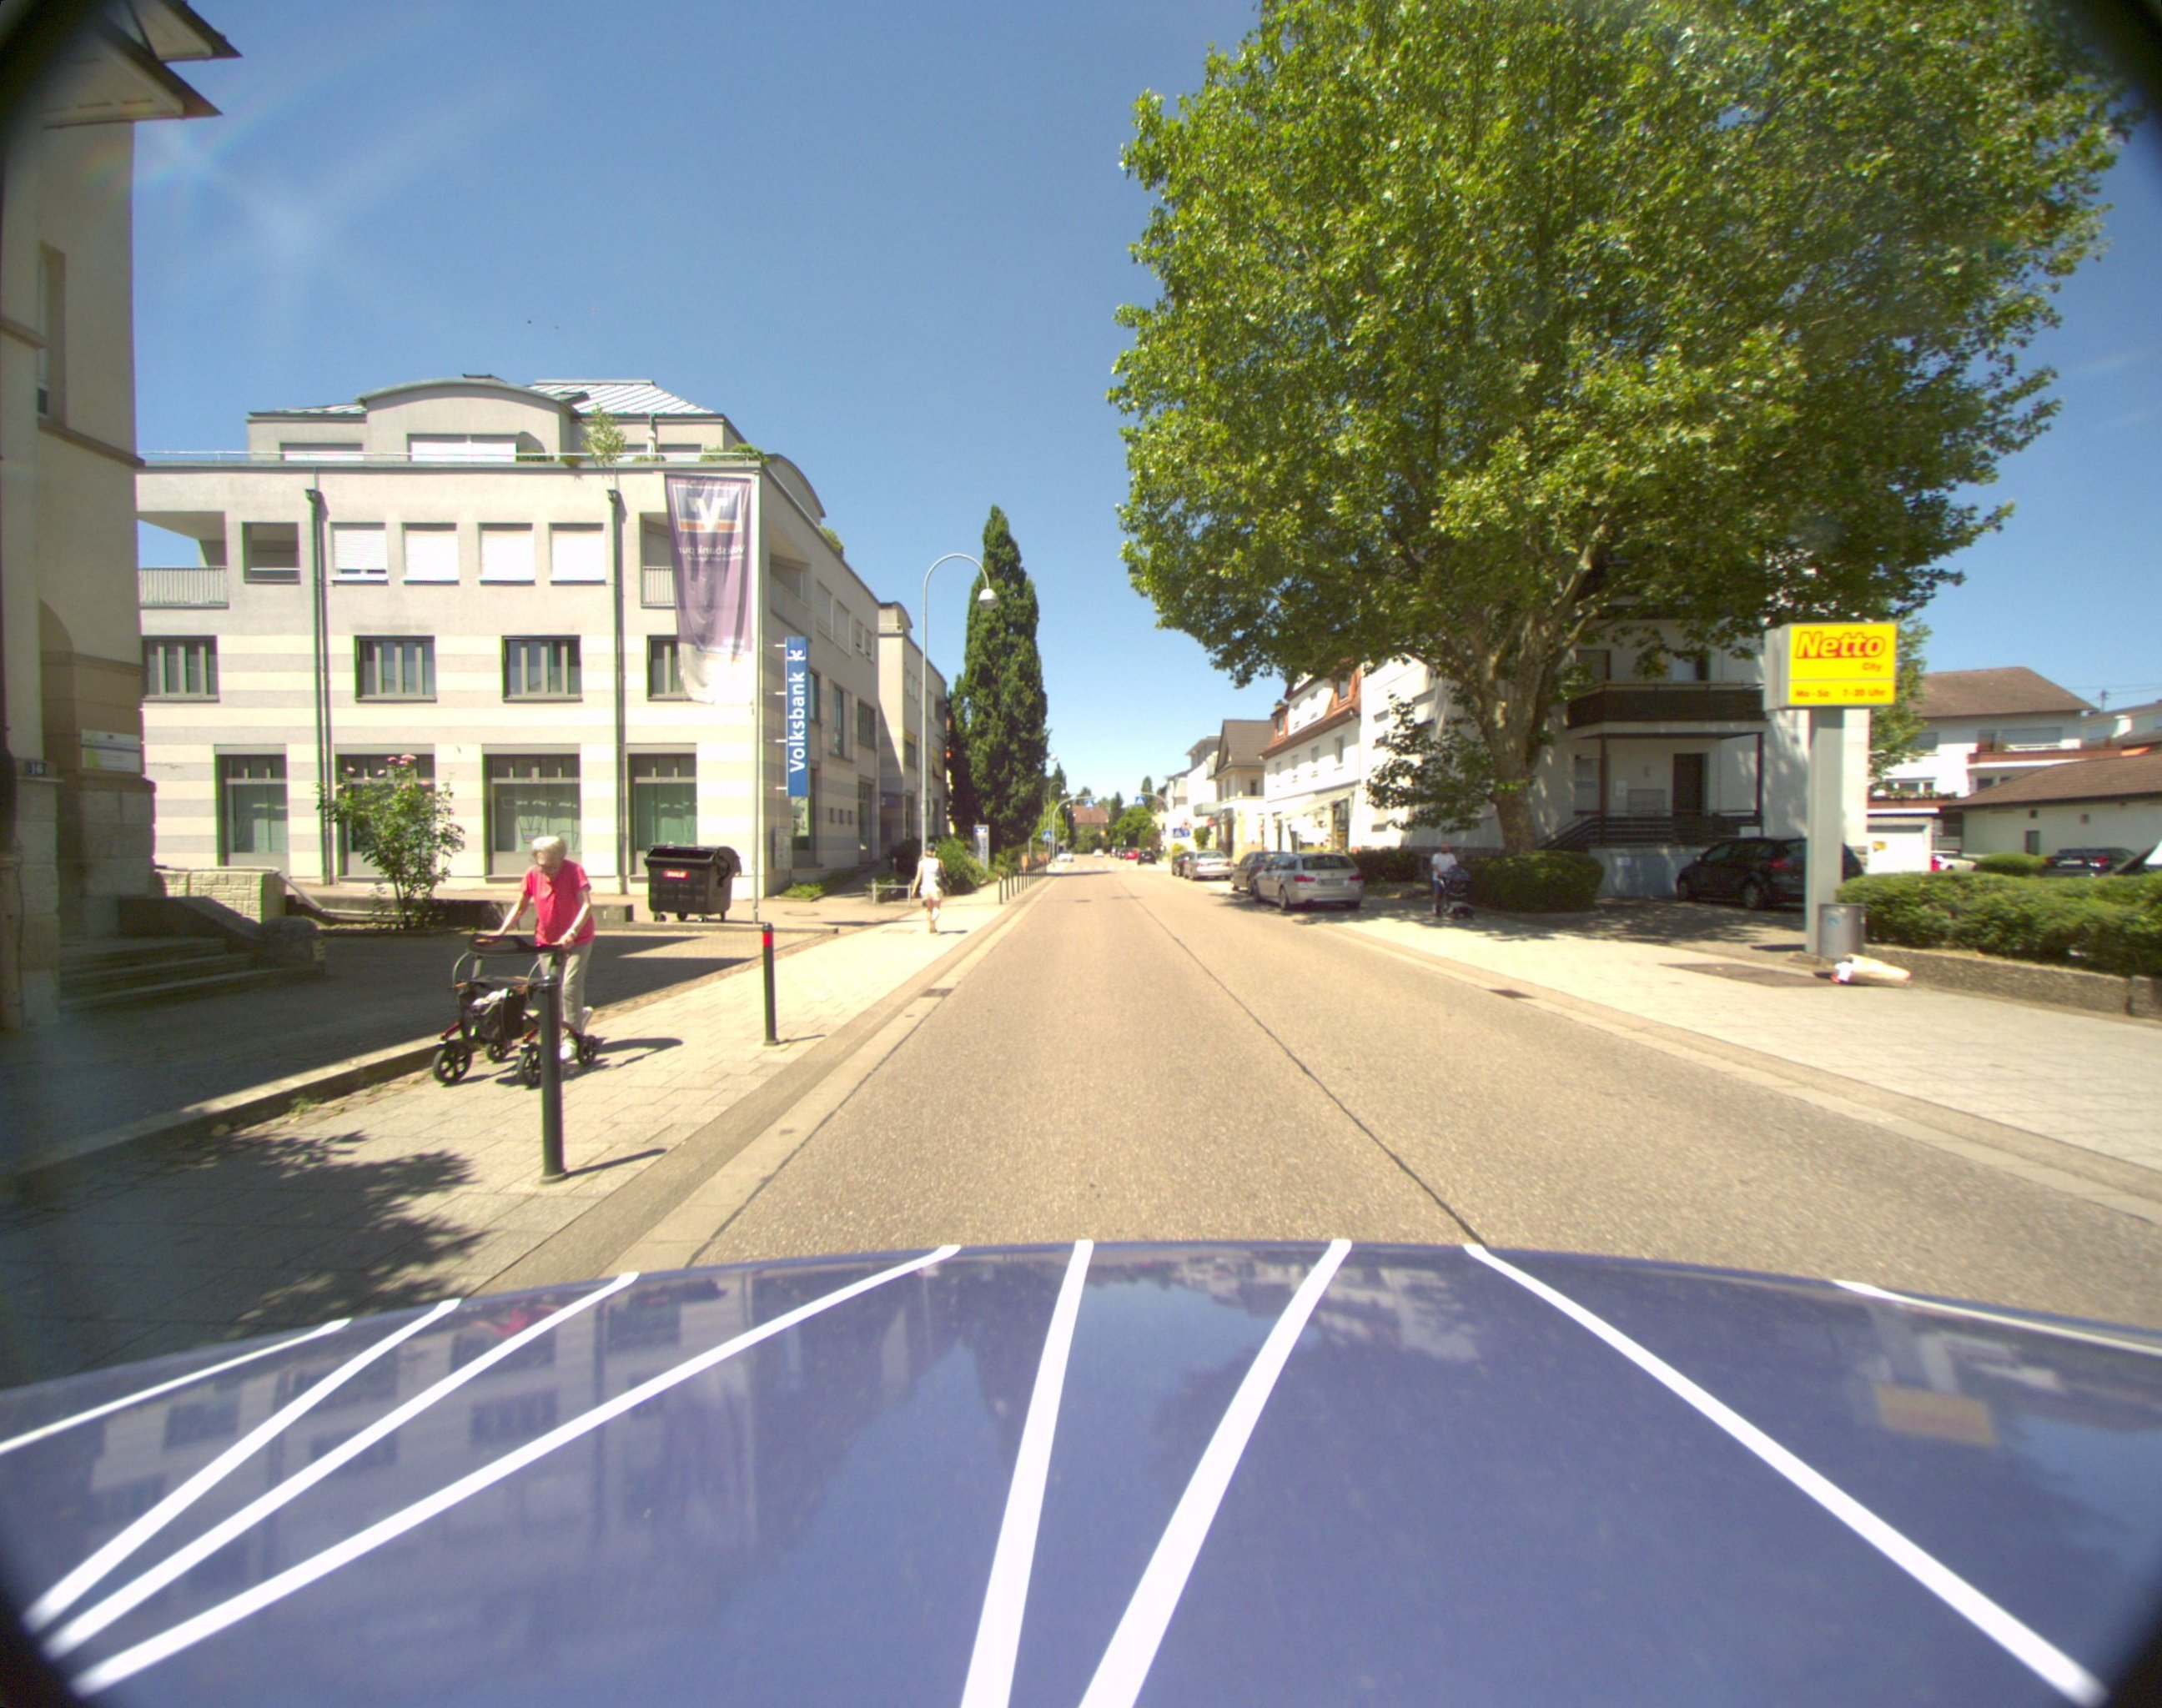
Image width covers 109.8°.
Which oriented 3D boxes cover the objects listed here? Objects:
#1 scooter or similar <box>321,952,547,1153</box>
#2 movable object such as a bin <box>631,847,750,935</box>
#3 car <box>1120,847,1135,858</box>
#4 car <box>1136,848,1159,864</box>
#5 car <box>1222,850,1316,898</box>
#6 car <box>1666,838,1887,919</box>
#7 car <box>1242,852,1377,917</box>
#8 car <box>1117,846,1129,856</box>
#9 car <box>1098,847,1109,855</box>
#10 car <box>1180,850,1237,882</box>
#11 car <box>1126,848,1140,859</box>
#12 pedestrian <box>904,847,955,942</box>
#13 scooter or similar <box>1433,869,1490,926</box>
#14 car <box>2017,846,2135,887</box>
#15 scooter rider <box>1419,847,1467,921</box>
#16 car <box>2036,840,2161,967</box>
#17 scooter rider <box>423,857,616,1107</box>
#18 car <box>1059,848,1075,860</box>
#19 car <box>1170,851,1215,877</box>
[{"bbox_3d":[-3.709,1.107,4.418,0.665,0.957,0.754,1,1,0],"label":"scooter or similar"},{"bbox_3d":[-7.049,0.636,13.817,1.371,1.450,1.380,3,1,2],"label":"movable object such as a bin"},{"bbox_3d":[7.101,-0.295,116.404,1.925,1.577,4.435,-3,1,1],"label":"car"},{"bbox_3d":[6.769,0.143,77.586,1.921,1.444,5.149,-3,1,1],"label":"car"},{"bbox_3d":[6.311,0.612,26.064,1.986,1.444,4.867,-1,0,0],"label":"car"},{"bbox_3d":[14.993,0.443,16.727,1.809,1.536,4.109,1,1,14],"label":"car"},{"bbox_3d":[5.844,0.707,20.176,1.986,1.444,5.150,-1,0,0],"label":"car"},{"bbox_3d":[7.560,-0.531,136.305,1.925,1.681,4.287,-3,1,2],"label":"car"},{"bbox_3d":[4.306,-0.601,145.369,1.812,1.474,3.868,1,1,-1],"label":"car"},{"bbox_3d":[6.239,0.539,37.789,1.986,1.444,5.357,-1,0,1],"label":"car"},{"bbox_3d":[7.203,-0.112,105.109,1.737,1.444,4.260,-3,1,1],"label":"car"},{"bbox_3d":[-2.685,0.697,13.520,0.702,1.617,0.783,3,1,-1],"label":"pedestrian"},{"bbox_3d":[7.863,0.878,15.742,0.665,1.092,1.028,-2,1,2],"label":"scooter or similar"},{"bbox_3d":[39.143,0.445,29.894,4.005,1.488,1.996,0,1,-25],"label":"car"},{"bbox_3d":[7.921,0.639,16.663,0.590,1.566,0.877,-2,1,2],"label":"scooter rider"},{"bbox_3d":[13.982,0.581,8.413,1.900,1.478,3.986,-1,1,-30],"label":"car"},{"bbox_3d":[-3.712,0.799,5.089,0.718,1.540,0.770,1,1,-1],"label":"scooter rider"},{"bbox_3d":[-1.726,0.042,97.740,1.920,1.460,4.880,1,1,0],"label":"car"},{"bbox_3d":[6.348,0.539,43.858,1.947,1.365,5.098,-1,1,1],"label":"car"}]
